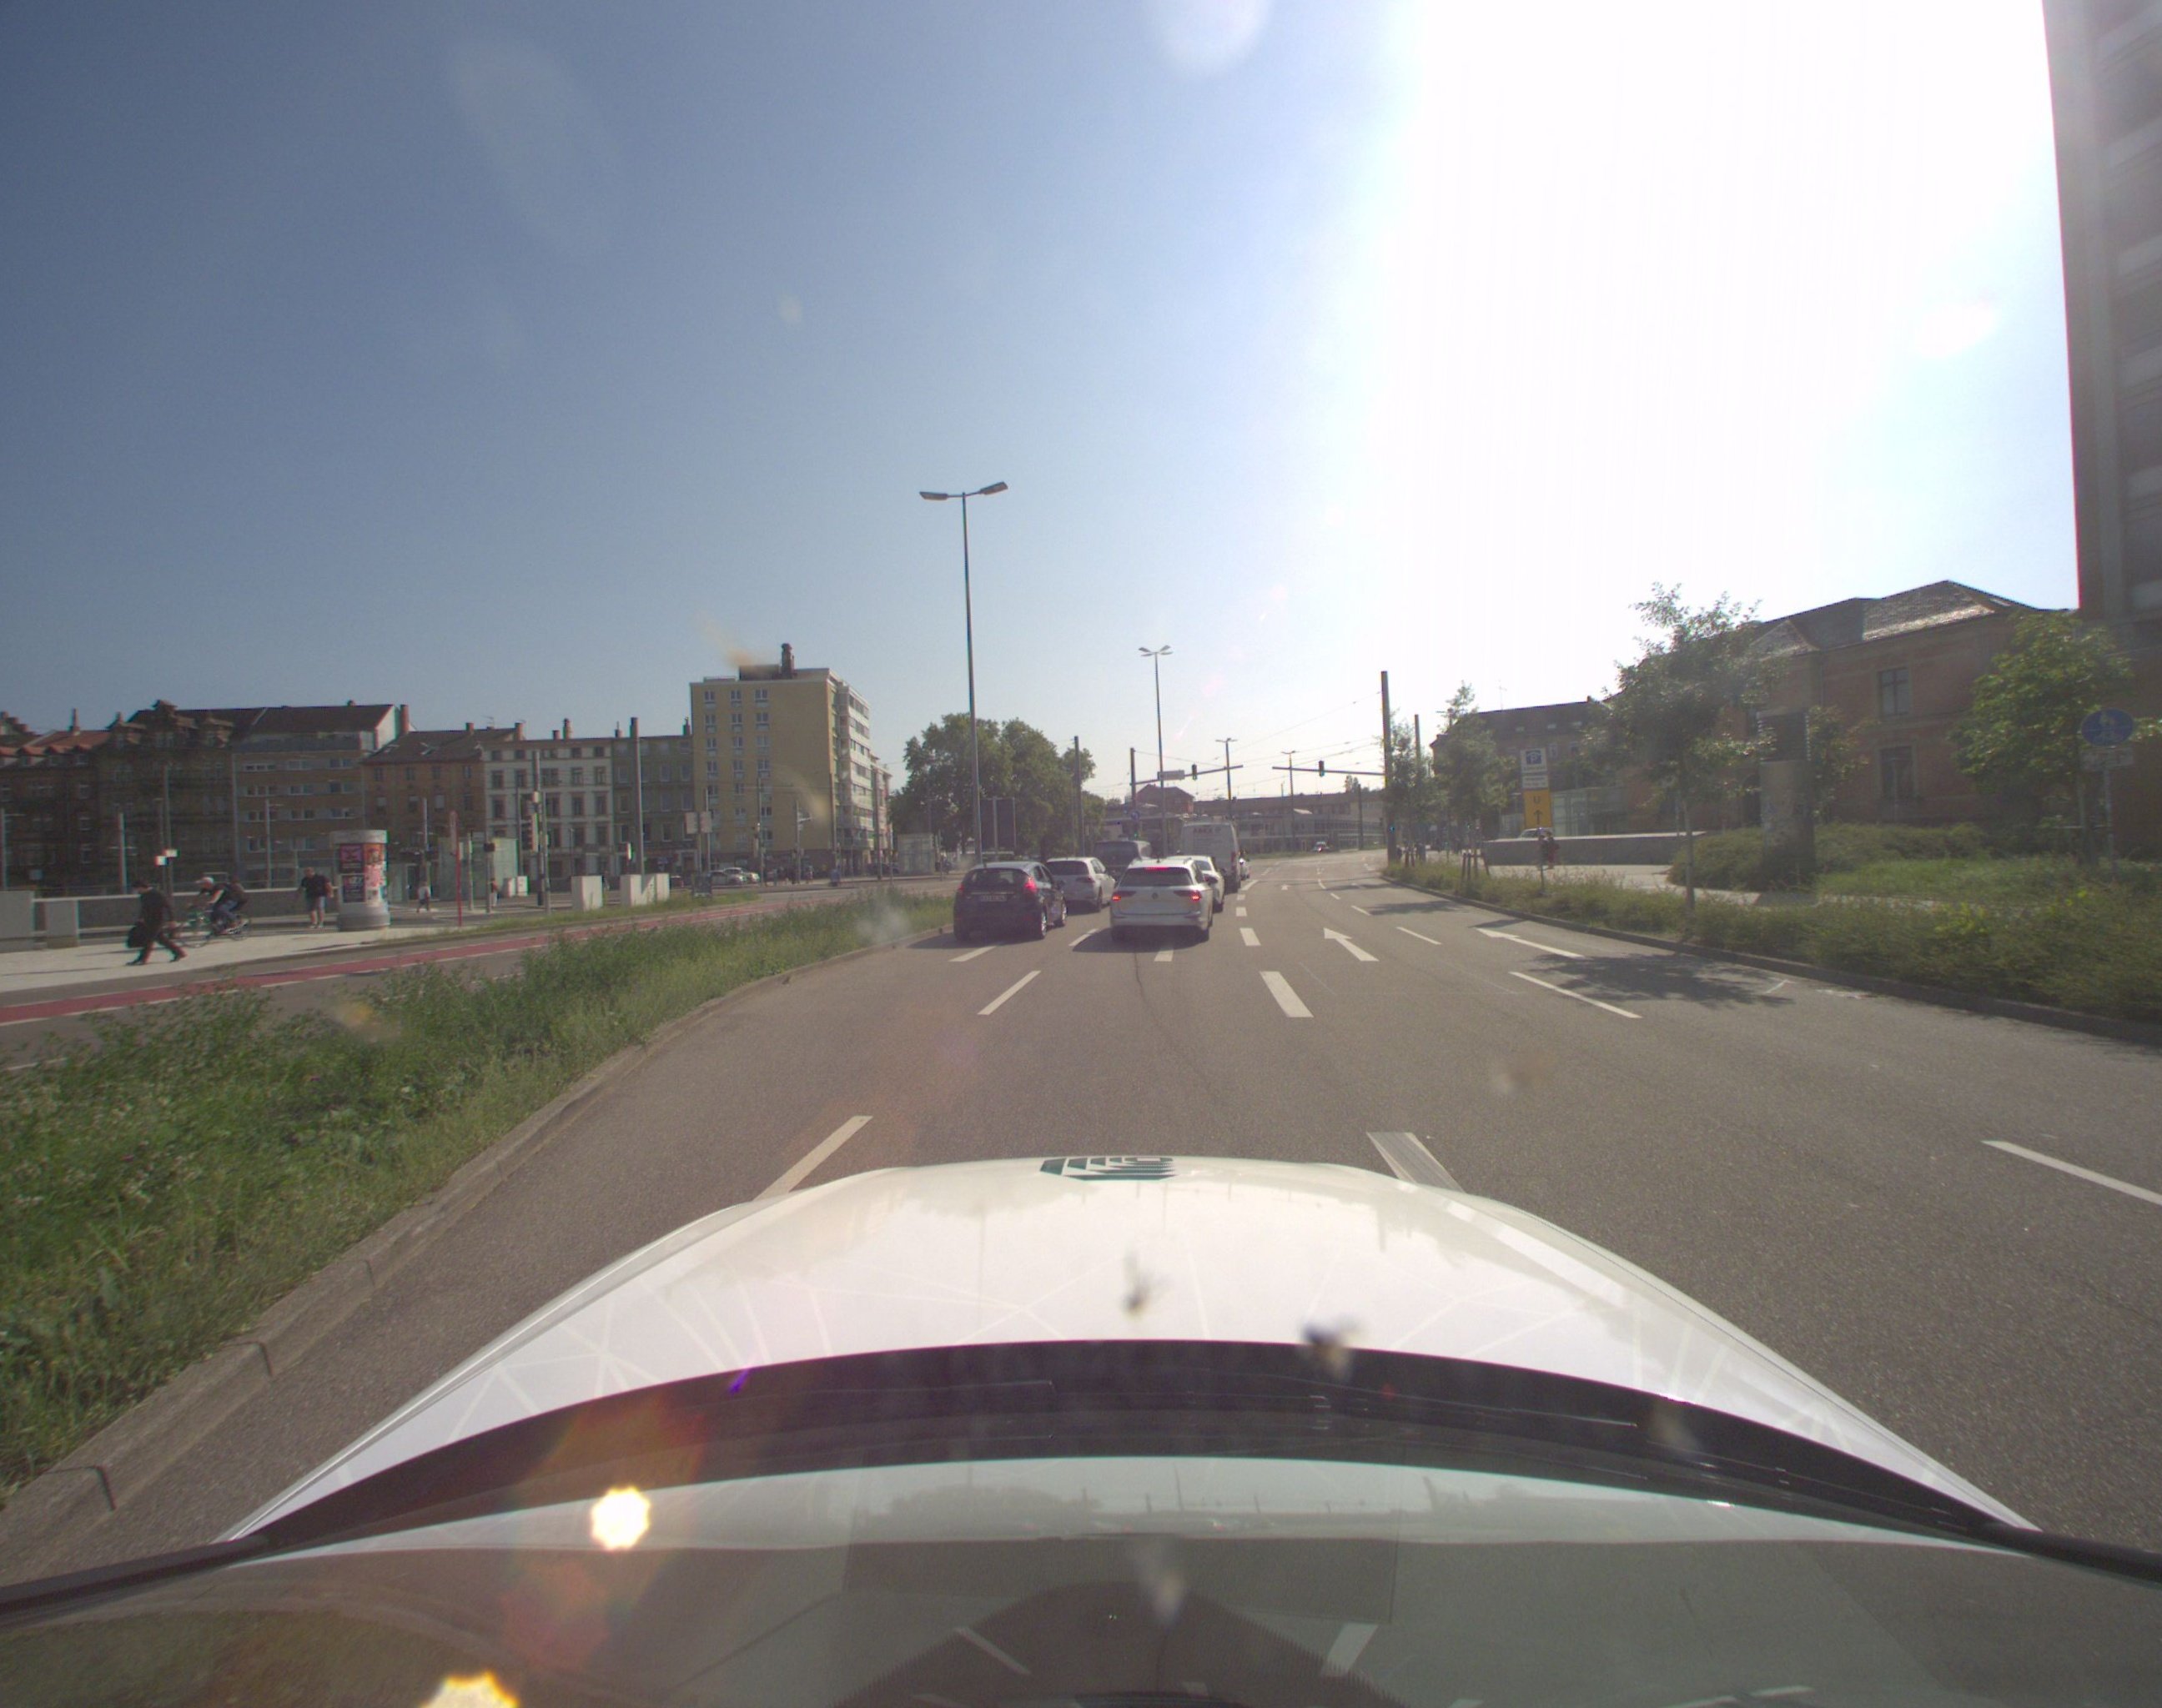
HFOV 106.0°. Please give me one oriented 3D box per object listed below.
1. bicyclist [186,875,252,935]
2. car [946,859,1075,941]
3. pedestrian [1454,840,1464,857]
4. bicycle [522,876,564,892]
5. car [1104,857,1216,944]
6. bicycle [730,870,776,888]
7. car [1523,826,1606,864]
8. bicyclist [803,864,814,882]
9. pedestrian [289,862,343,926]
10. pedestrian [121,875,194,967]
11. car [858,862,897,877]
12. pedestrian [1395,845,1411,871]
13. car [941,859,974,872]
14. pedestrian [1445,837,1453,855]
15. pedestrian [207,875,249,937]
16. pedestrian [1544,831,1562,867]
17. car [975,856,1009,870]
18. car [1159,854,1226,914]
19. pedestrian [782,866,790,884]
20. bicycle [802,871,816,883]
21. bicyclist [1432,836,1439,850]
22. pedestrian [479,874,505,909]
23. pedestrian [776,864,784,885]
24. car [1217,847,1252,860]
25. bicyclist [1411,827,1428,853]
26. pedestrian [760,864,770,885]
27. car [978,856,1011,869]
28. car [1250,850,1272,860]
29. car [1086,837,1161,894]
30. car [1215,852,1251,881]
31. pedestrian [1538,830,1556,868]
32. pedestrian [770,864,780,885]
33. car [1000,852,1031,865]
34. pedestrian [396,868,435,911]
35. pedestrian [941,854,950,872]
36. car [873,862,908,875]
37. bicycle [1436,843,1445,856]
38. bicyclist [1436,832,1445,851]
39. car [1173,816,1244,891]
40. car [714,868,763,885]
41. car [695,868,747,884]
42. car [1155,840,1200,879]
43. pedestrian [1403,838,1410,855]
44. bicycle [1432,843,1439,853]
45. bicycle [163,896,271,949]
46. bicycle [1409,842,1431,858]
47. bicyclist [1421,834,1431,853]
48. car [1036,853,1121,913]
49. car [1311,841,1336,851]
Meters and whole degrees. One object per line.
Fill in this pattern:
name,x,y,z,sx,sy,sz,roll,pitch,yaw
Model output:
bicyclist,-21.061,1.225,19.906,0.560,1.361,0.884,-2,2,2
car,-1.272,0.828,16.350,1.692,1.368,3.972,-2,0,8
pedestrian,33.655,-0.509,72.482,0.739,1.529,0.811,-3,0,24
bicycle,-53.687,2.991,81.243,3.523,1.347,0.773,-2,2,-4
car,1.590,0.777,15.171,1.674,1.387,3.645,-2,-1,11
bicycle,-33.128,2.516,82.281,3.980,1.551,1.194,-2,2,-5
car,28.299,-0.567,47.712,3.985,2.013,1.749,-2,2,-9
bicyclist,-22.936,1.618,68.613,0.725,1.434,0.688,-2,0,-6
pedestrian,-23.216,1.197,24.737,0.884,1.818,0.888,-3,2,-28
pedestrian,-19.117,1.355,16.876,0.853,1.778,0.866,-4,3,-45
car,-23.978,1.791,96.090,3.976,1.557,1.868,-2,2,-2
pedestrian,17.504,0.225,44.261,0.632,1.362,0.635,-2,0,7
car,-15.673,1.445,103.541,3.978,1.558,1.726,-2,0,-3
pedestrian,42.610,-0.922,94.261,0.739,2.013,0.811,-3,0,24
pedestrian,-22.691,1.381,21.662,0.494,1.579,0.510,-2,2,12
pedestrian,21.517,-0.233,37.129,0.608,1.628,0.537,-3,0,31
car,-11.529,1.179,105.655,3.972,1.618,1.814,-2,0,1
car,3.044,0.741,21.701,1.479,1.403,3.954,-2,-1,11
pedestrian,-25.044,1.750,69.114,0.501,1.487,0.435,-4,3,-41
bicycle,-22.931,1.943,68.637,0.726,0.984,1.728,-2,0,-6
bicyclist,45.701,-1.451,105.115,0.739,1.829,0.811,-3,0,24
pedestrian,-31.537,2.000,43.602,0.831,1.819,0.778,-1,-2,-3
pedestrian,-25.441,1.711,68.774,0.458,1.684,0.435,-4,3,-41
car,18.336,-0.074,97.246,3.946,1.342,1.933,-2,0,5
bicyclist,21.451,-0.893,51.659,0.767,1.578,0.993,-2,-1,10
pedestrian,-26.059,1.702,67.228,0.450,1.684,0.550,-1,2,22
car,-11.427,1.123,107.659,3.972,1.618,1.814,-2,0,1
car,28.091,0.146,126.974,1.974,1.442,4.026,-2,0,34
car,1.750,0.423,31.837,2.009,2.008,4.701,-2,0,14
car,7.879,0.624,42.033,1.626,1.403,3.700,-2,0,12
pedestrian,20.986,-0.227,36.693,0.608,1.639,0.537,-3,0,31
pedestrian,-25.418,1.732,67.647,0.452,1.684,0.549,-2,2,10
car,-8.825,0.579,109.997,3.978,1.558,1.726,-2,0,-3
pedestrian,-32.792,1.737,40.169,0.956,2.013,1.021,-2,2,-2
pedestrian,-15.112,0.984,90.613,0.819,2.013,0.509,-2,0,0
car,-24.149,1.826,103.100,3.978,1.558,1.867,-2,0,-3
bicycle,35.797,-0.465,81.015,0.739,1.148,2.883,-3,0,24
bicyclist,35.776,-1.228,81.008,0.739,1.785,1.120,-3,0,24
car,4.899,0.012,30.712,2.173,2.549,4.700,-2,-1,13
car,-31.205,2.023,74.212,3.728,1.393,1.585,-2,0,-2
car,-31.300,1.926,70.852,3.816,1.180,1.576,-2,-2,0
car,5.538,0.289,46.162,2.010,2.008,4.699,-2,0,12
pedestrian,38.711,-0.911,96.834,0.739,2.013,0.811,-3,0,24
bicycle,45.748,-0.833,105.139,0.733,1.217,2.258,-3,0,24
bicycle,-21.053,1.650,19.907,0.560,1.064,1.853,-1,2,2
bicycle,21.475,-0.222,51.641,0.767,0.976,2.156,-2,0,10
bicyclist,28.892,-0.901,68.135,0.706,1.529,0.811,-3,0,24
car,0.010,0.744,22.421,1.479,1.415,3.661,-2,0,13
car,40.085,-1.280,134.578,4.022,1.442,1.976,-2,0,-41
